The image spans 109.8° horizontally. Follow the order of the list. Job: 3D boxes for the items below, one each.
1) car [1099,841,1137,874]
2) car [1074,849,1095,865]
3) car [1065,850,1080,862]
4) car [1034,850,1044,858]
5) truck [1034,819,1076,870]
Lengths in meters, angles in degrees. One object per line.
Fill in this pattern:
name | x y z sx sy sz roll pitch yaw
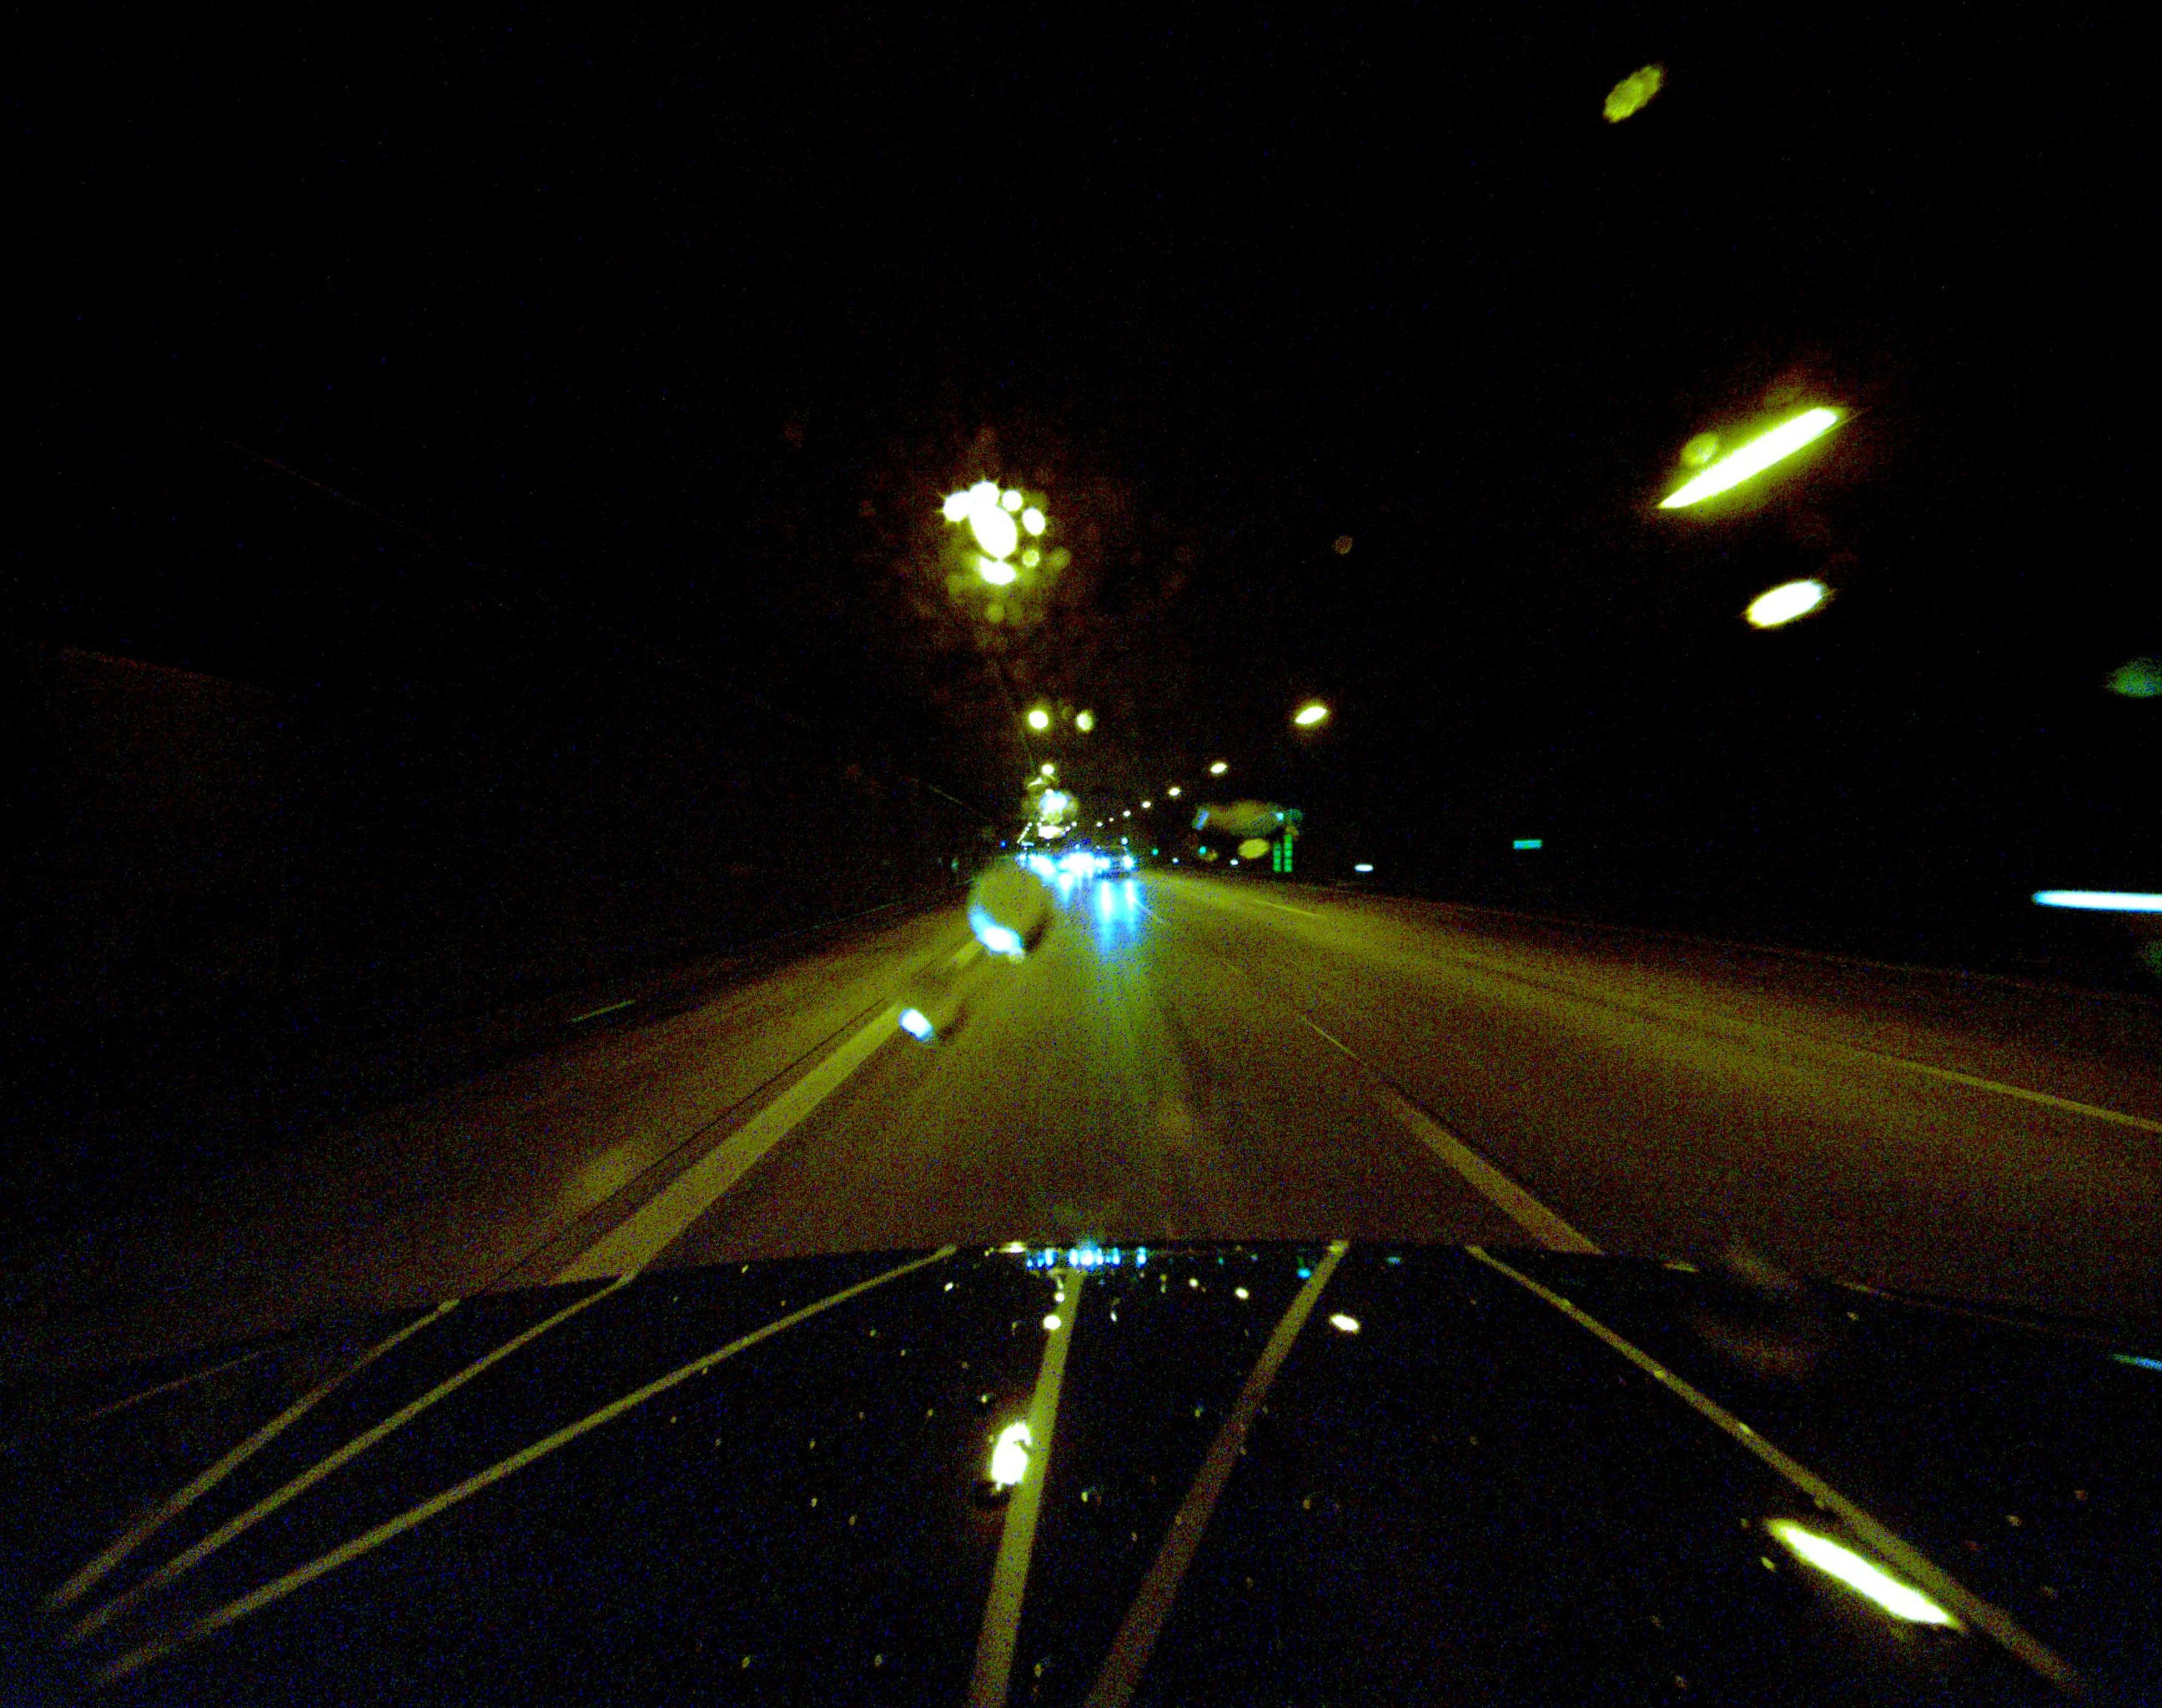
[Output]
car | 2.349 0.274 49.459 1.999 2.001 4.360 -1 -1 -3
car | 0.355 0.275 82.183 1.911 1.638 3.998 -2 0 -4
car | -1.189 0.257 103.359 1.759 1.567 3.998 -2 0 -4
car | -10.204 0.052 182.980 2.000 1.729 3.997 -2 0 -8
truck | -2.416 -0.815 67.492 3.143 4.136 7.383 -2 1 -5
